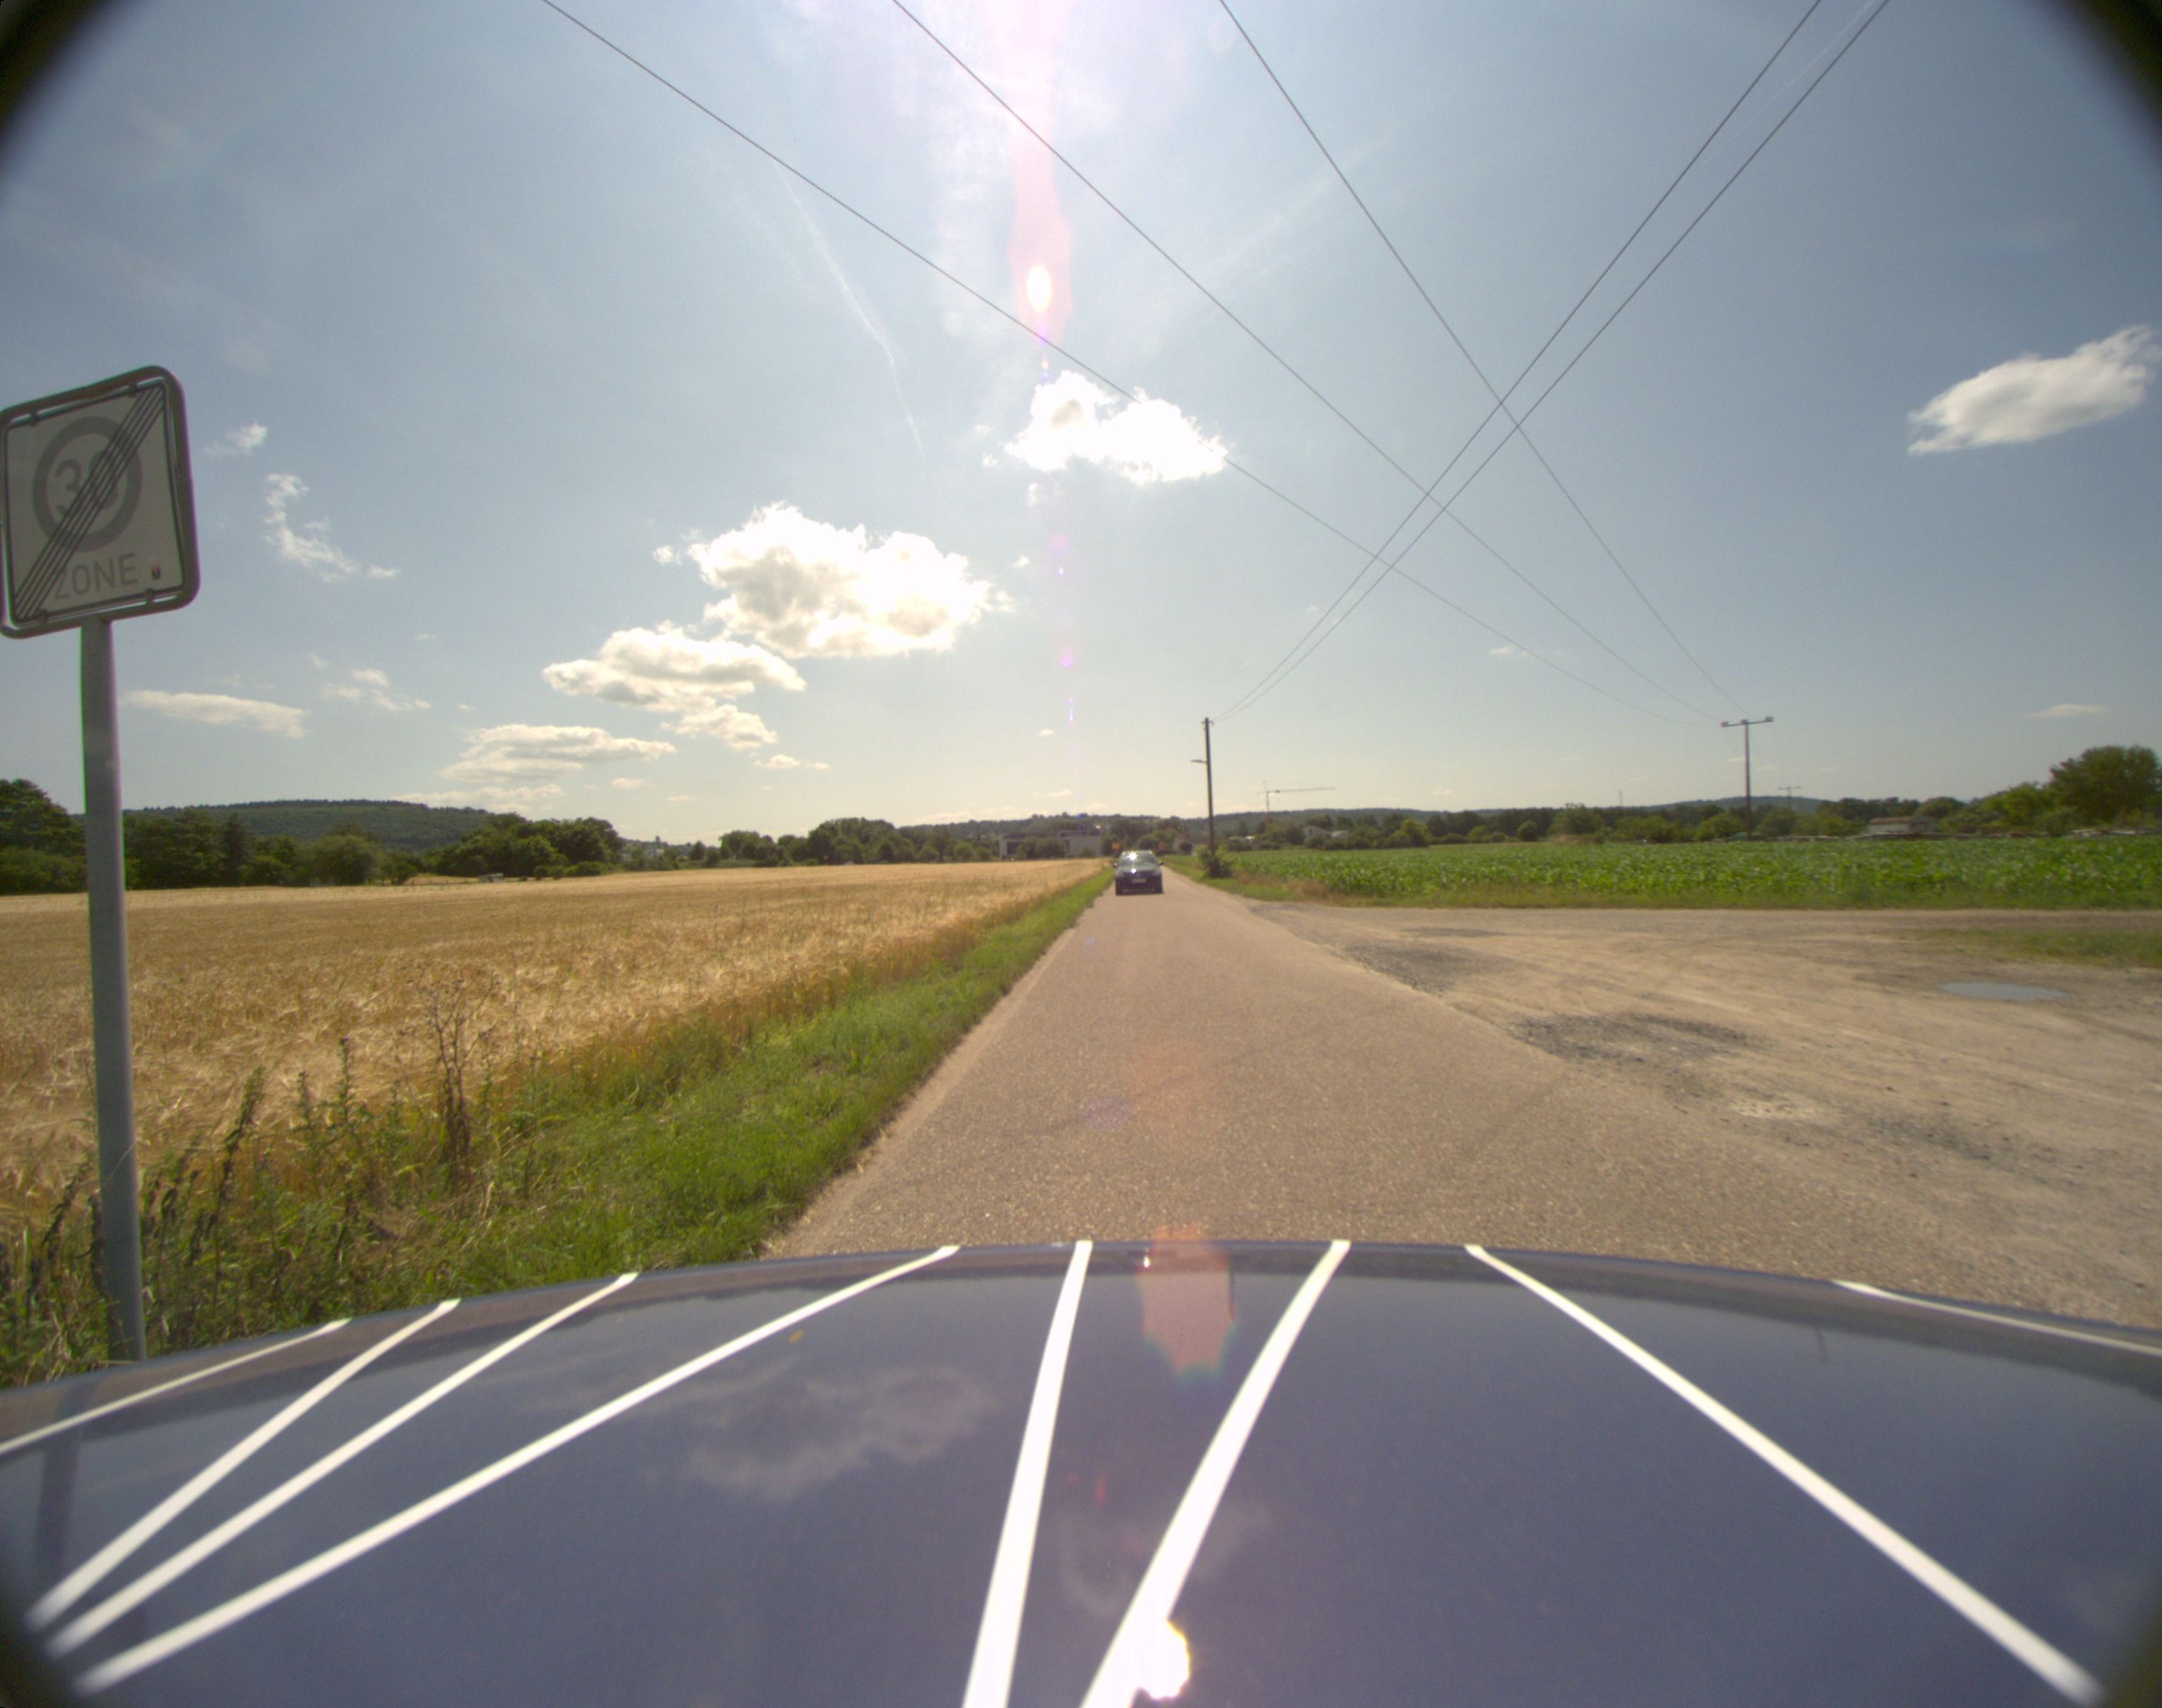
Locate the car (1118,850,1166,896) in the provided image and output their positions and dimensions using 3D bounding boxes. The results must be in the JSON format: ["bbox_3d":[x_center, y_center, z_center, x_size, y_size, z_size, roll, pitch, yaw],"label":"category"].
[{"bbox_3d":[2.404,0.712,30.034,1.747,1.669,4.256,-1,0,4],"label":"car"}]
